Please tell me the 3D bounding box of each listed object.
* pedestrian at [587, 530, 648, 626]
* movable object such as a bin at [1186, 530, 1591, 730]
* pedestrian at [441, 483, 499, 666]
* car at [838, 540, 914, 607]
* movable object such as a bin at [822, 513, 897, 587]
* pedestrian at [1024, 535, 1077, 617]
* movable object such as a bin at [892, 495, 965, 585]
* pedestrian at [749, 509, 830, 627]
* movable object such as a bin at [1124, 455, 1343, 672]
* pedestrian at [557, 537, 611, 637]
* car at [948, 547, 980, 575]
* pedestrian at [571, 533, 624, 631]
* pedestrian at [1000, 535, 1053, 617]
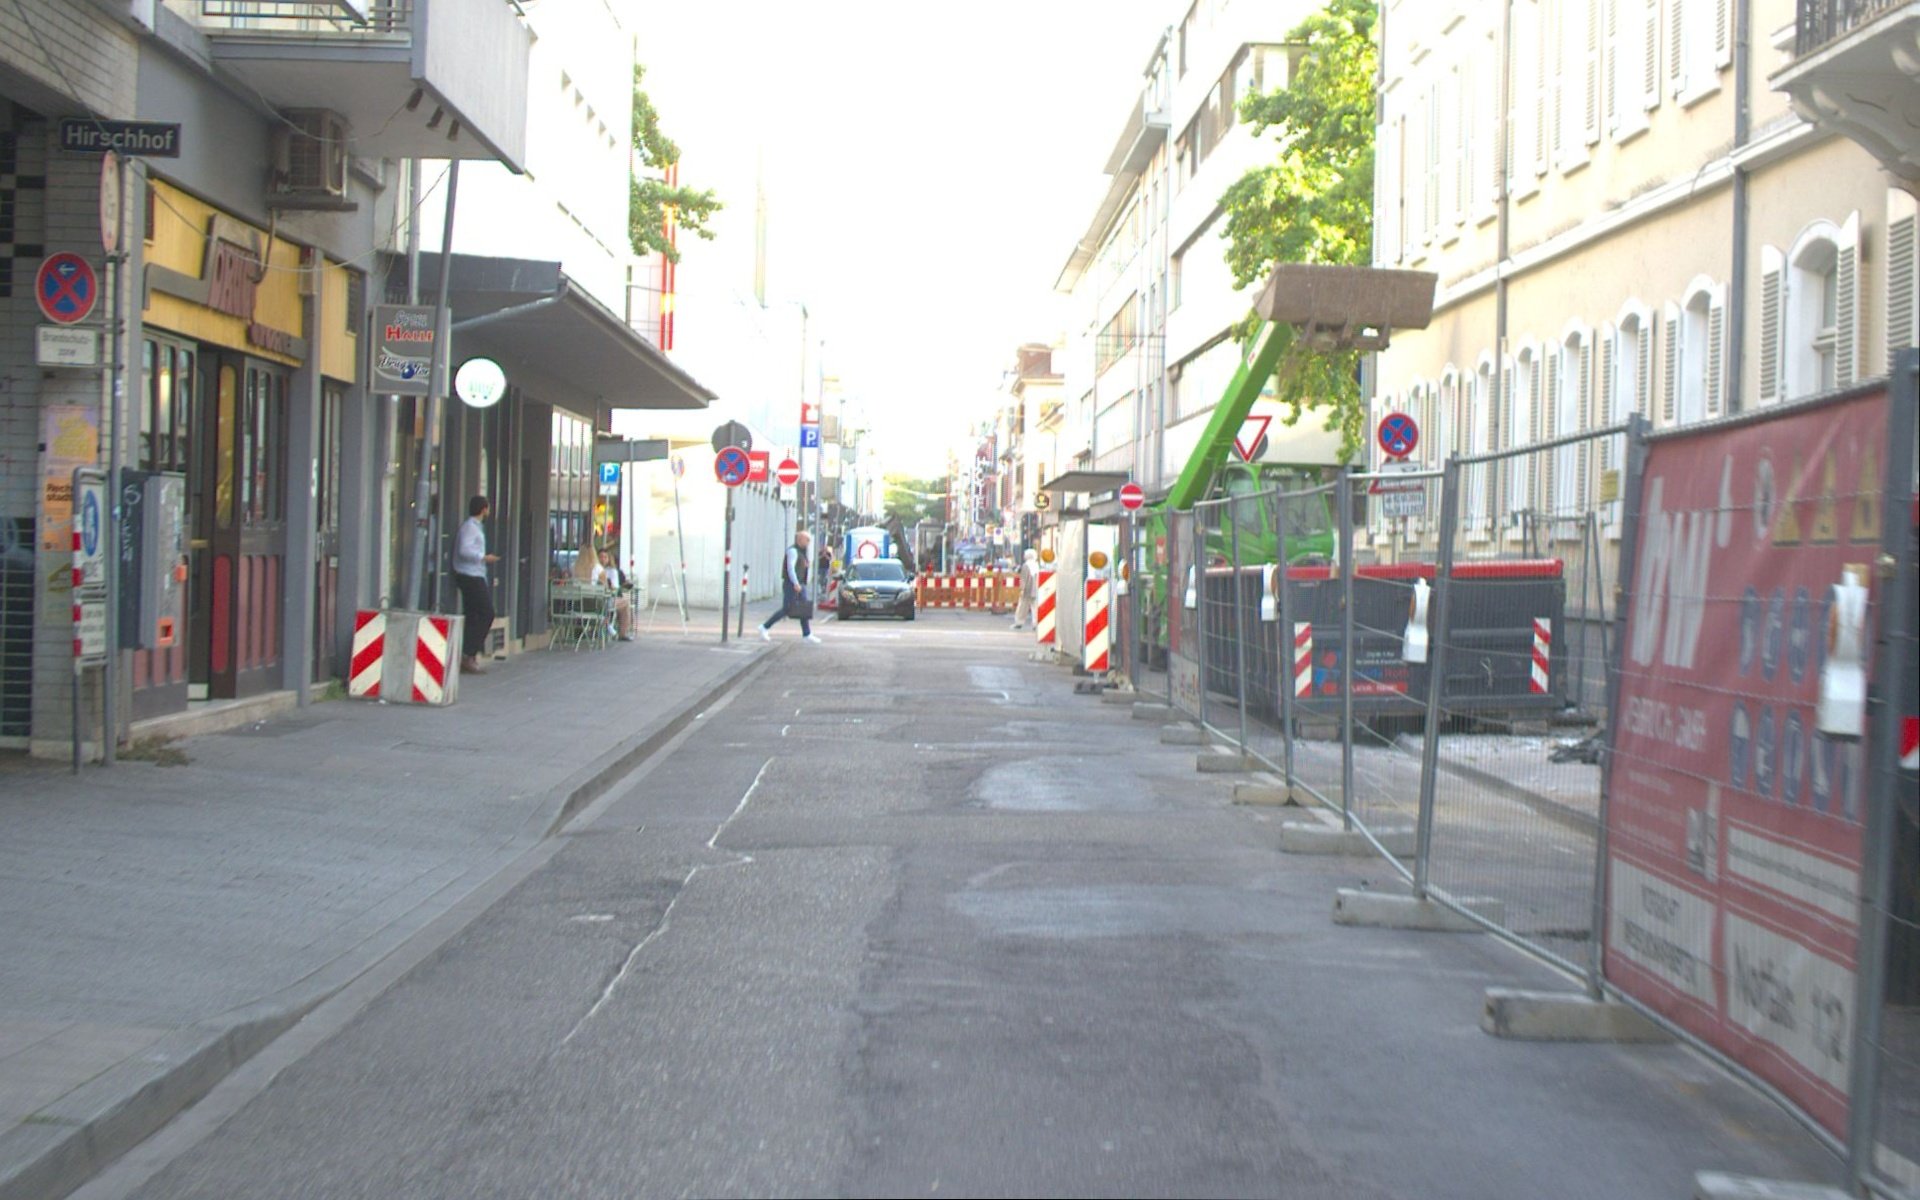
[{"bbox_3d":[-4.720,-0.305,47.436,0.702,1.271,0.713,3,1,-1],"label":"pedestrian"},{"bbox_3d":[3.966,0.195,33.605,2.735,1.633,7.553,2,1,-2],"label":"movable object such as a bin"},{"bbox_3d":[-4.972,-0.264,34.921,0.530,1.828,0.563,1,1,-7],"label":"pedestrian"},{"bbox_3d":[-1.998,-0.644,81.475,1.629,1.545,3.143,1,1,-4],"label":"car"},{"bbox_3d":[-2.807,-1.413,96.728,1.993,2.007,4.000,1,1,0],"label":"movable object such as a bin"},{"bbox_3d":[1.805,-0.479,68.472,0.610,1.622,0.873,0,1,-40],"label":"pedestrian"},{"bbox_3d":[-1.000,-1.858,106.880,2.156,2.654,4.573,2,1,-1],"label":"movable object such as a bin"},{"bbox_3d":[-2.680,-0.502,54.021,1.071,1.829,0.698,1,1,-21],"label":"pedestrian"},{"bbox_3d":[3.723,-0.517,47.666,2.605,2.829,4.450,1,1,-1],"label":"movable object such as a bin"},{"bbox_3d":[-4.960,-0.181,45.333,0.573,1.271,0.713,3,1,-1],"label":"pedestrian"},{"bbox_3d":[0.242,-2.530,220.903,1.993,1.770,4.000,1,1,-1],"label":"car"},{"bbox_3d":[-4.888,-0.248,46.344,0.573,1.271,0.713,3,1,-1],"label":"pedestrian"},{"bbox_3d":[1.311,-0.479,68.070,0.610,1.622,0.873,0,1,-40],"label":"pedestrian"}]
